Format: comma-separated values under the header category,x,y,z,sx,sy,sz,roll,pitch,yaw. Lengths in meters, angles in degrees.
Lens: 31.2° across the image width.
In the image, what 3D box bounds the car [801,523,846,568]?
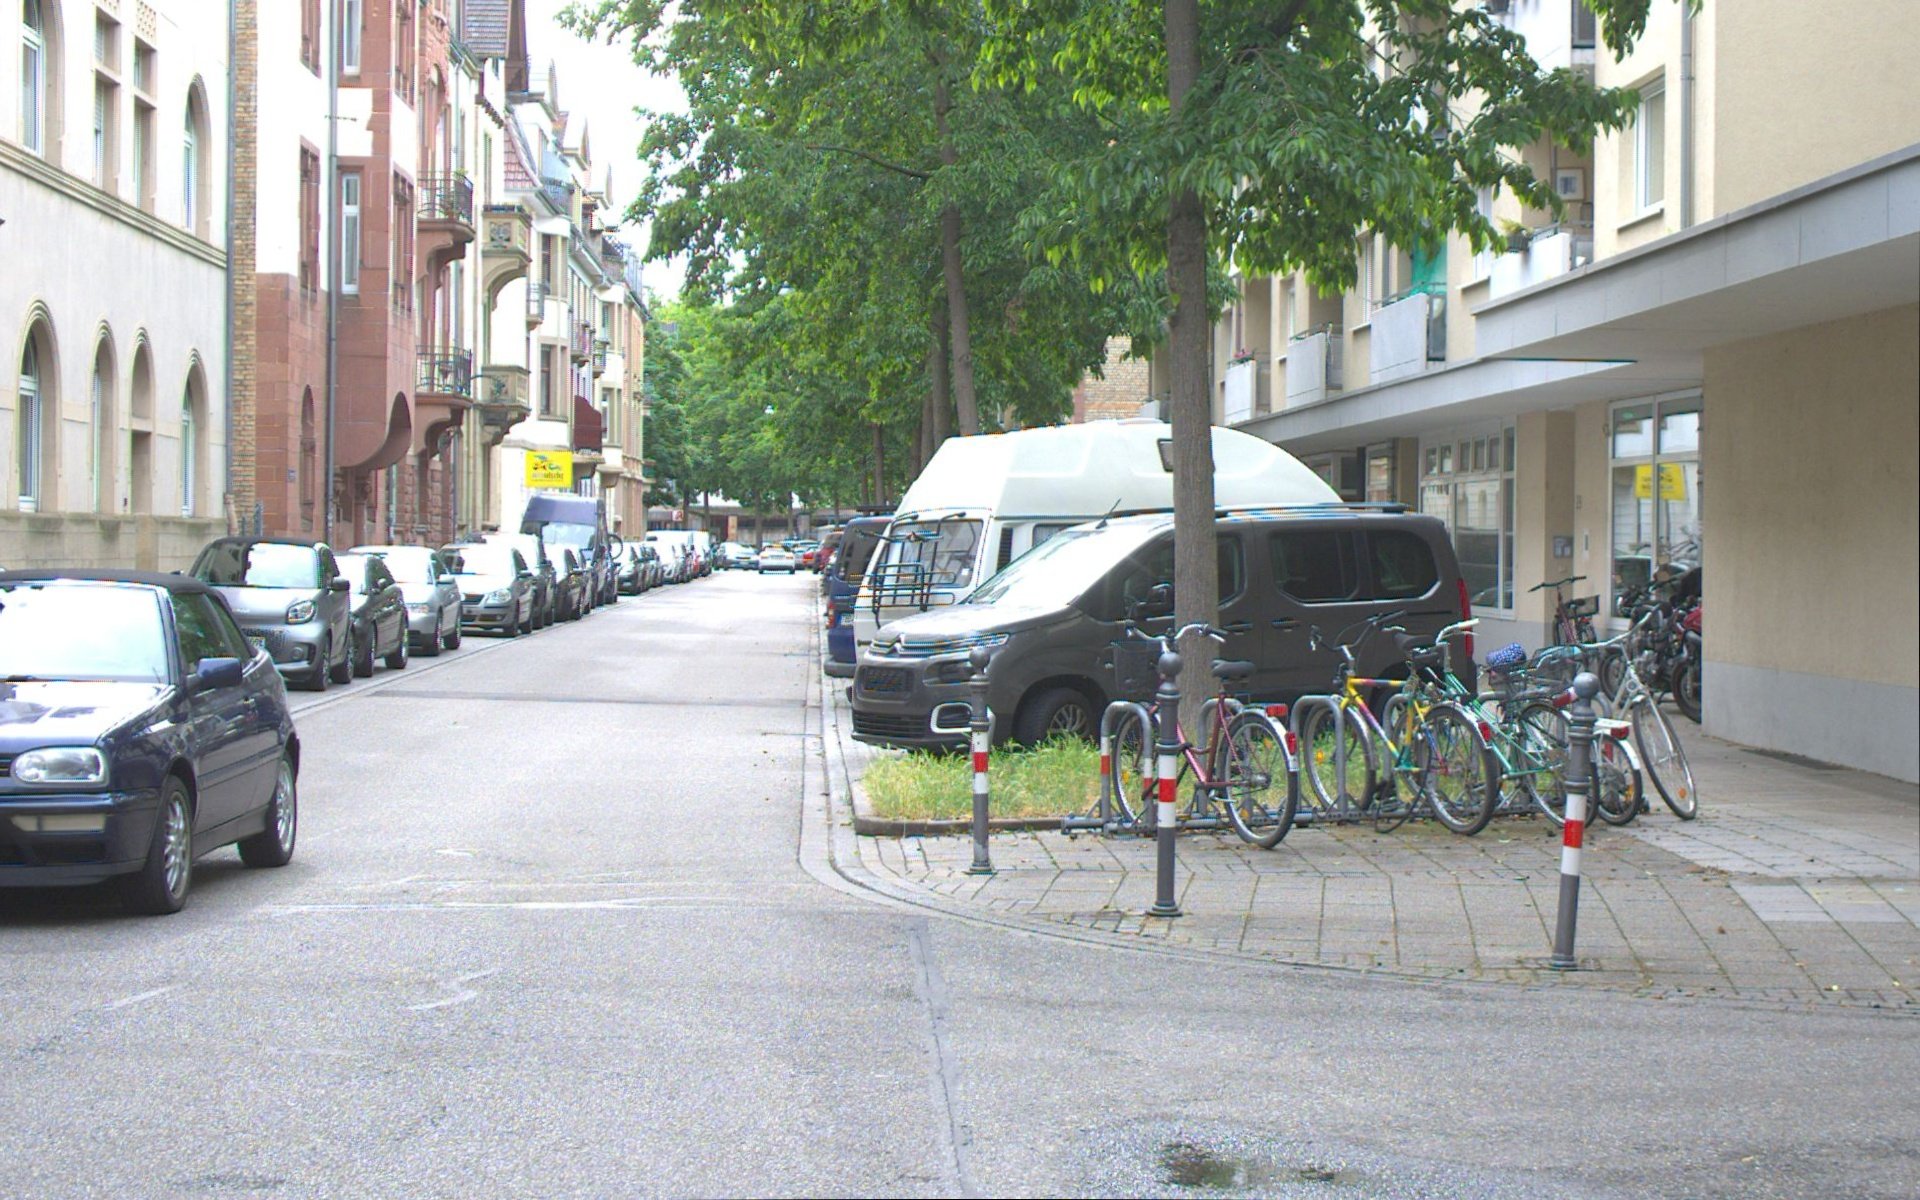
category,x,y,z,sx,sy,sz,roll,pitch,yaw
car,-6.573,-2.619,165.181,1.993,2.007,4.001,4,1,-3

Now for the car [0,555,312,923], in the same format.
category,x,y,z,sx,sy,sz,roll,pitch,yaw
car,-3.995,0.529,15.070,1.708,1.408,3.853,0,0,-2

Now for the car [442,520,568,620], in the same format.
category,x,y,z,sx,sy,sz,roll,pitch,yaw
car,-8.023,-0.563,60.929,1.786,1.641,4.362,2,1,-3

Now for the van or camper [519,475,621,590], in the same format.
category,x,y,z,sx,sy,sz,roll,pitch,yaw
van or camper,-9.245,-1.650,81.785,2.008,2.642,5.317,0,2,-2

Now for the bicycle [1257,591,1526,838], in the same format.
category,x,y,z,sx,sy,sz,roll,pitch,yaw
bicycle,2.200,0.559,17.738,0.548,1.169,1.729,0,1,-24

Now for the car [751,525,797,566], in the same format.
category,x,y,z,sx,sy,sz,roll,pitch,yaw
car,-8.743,-2.554,162.051,1.993,1.788,4.000,2,0,-2

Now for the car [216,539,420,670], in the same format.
category,x,y,z,sx,sy,sz,roll,pitch,yaw
car,-7.405,0.047,39.986,1.726,1.382,3.929,2,0,-2

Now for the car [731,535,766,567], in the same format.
category,x,y,z,sx,sy,sz,roll,pitch,yaw
car,-11.538,-2.696,188.011,1.820,1.639,3.754,2,0,-3

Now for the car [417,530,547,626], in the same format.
category,x,y,z,sx,sy,sz,roll,pitch,yaw
car,-7.692,-0.386,55.581,1.662,1.416,3.930,2,1,-3

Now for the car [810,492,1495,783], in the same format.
category,x,y,z,sx,sy,sz,roll,pitch,yaw
car,1.339,0.215,23.702,4.331,1.847,1.911,0,1,-27

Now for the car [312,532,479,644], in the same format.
category,x,y,z,sx,sy,sz,roll,pitch,yaw
car,-7.644,-0.196,46.864,1.726,1.382,4.137,2,1,-3

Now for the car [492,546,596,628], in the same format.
category,x,y,z,sx,sy,sz,roll,pitch,yaw
car,-8.070,-0.276,66.914,1.634,1.468,4.001,2,1,-2

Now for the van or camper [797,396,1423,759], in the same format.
category,x,y,z,sx,sy,sz,roll,pitch,yaw
van or camper,1.203,-0.194,26.584,4.582,2.587,1.911,0,1,-35

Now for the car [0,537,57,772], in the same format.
category,x,y,z,sx,sy,sz,roll,pitch,yaw
car,-6.901,0.318,21.032,1.709,1.489,4.000,2,0,-1

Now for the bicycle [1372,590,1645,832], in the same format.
category,x,y,z,sx,sy,sz,roll,pitch,yaw
bicycle,2.852,0.551,18.036,0.548,1.169,1.729,0,1,-24

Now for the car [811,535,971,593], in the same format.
category,x,y,z,sx,sy,sz,roll,pitch,yaw
car,-1.907,-0.996,94.849,4.010,1.554,1.884,0,1,-33

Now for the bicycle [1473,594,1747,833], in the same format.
category,x,y,z,sx,sy,sz,roll,pitch,yaw
bicycle,3.431,0.572,18.286,0.548,1.169,1.698,0,1,-24

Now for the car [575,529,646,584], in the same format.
category,x,y,z,sx,sy,sz,roll,pitch,yaw
car,-9.950,-1.247,98.095,1.789,1.475,4.023,2,1,-3

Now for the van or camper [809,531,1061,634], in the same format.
category,x,y,z,sx,sy,sz,roll,pitch,yaw
van or camper,-0.510,-0.362,70.428,4.729,1.987,2.000,-1,-1,-27

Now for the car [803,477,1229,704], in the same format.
category,x,y,z,sx,sy,sz,roll,pitch,yaw
car,0.639,-0.136,35.430,2.065,2.189,4.388,2,2,40

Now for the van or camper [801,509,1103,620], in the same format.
category,x,y,z,sx,sy,sz,roll,pitch,yaw
van or camper,-0.136,-0.653,61.800,5.005,1.863,2.127,-2,1,-30

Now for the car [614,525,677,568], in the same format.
category,x,y,z,sx,sy,sz,roll,pitch,yaw
car,-11.052,-1.900,121.008,1.993,1.470,4.001,1,1,-2

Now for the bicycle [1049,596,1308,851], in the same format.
category,x,y,z,sx,sy,sz,roll,pitch,yaw
bicycle,1.067,0.585,17.228,0.548,1.169,1.729,0,1,-24

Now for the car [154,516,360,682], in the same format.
category,x,y,z,sx,sy,sz,roll,pitch,yaw
car,-7.307,-0.044,35.954,1.646,1.565,2.957,2,2,-3

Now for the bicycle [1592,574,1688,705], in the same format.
category,x,y,z,sx,sy,sz,roll,pitch,yaw
bicycle,5.970,0.331,30.238,0.484,1.086,1.701,1,1,0
